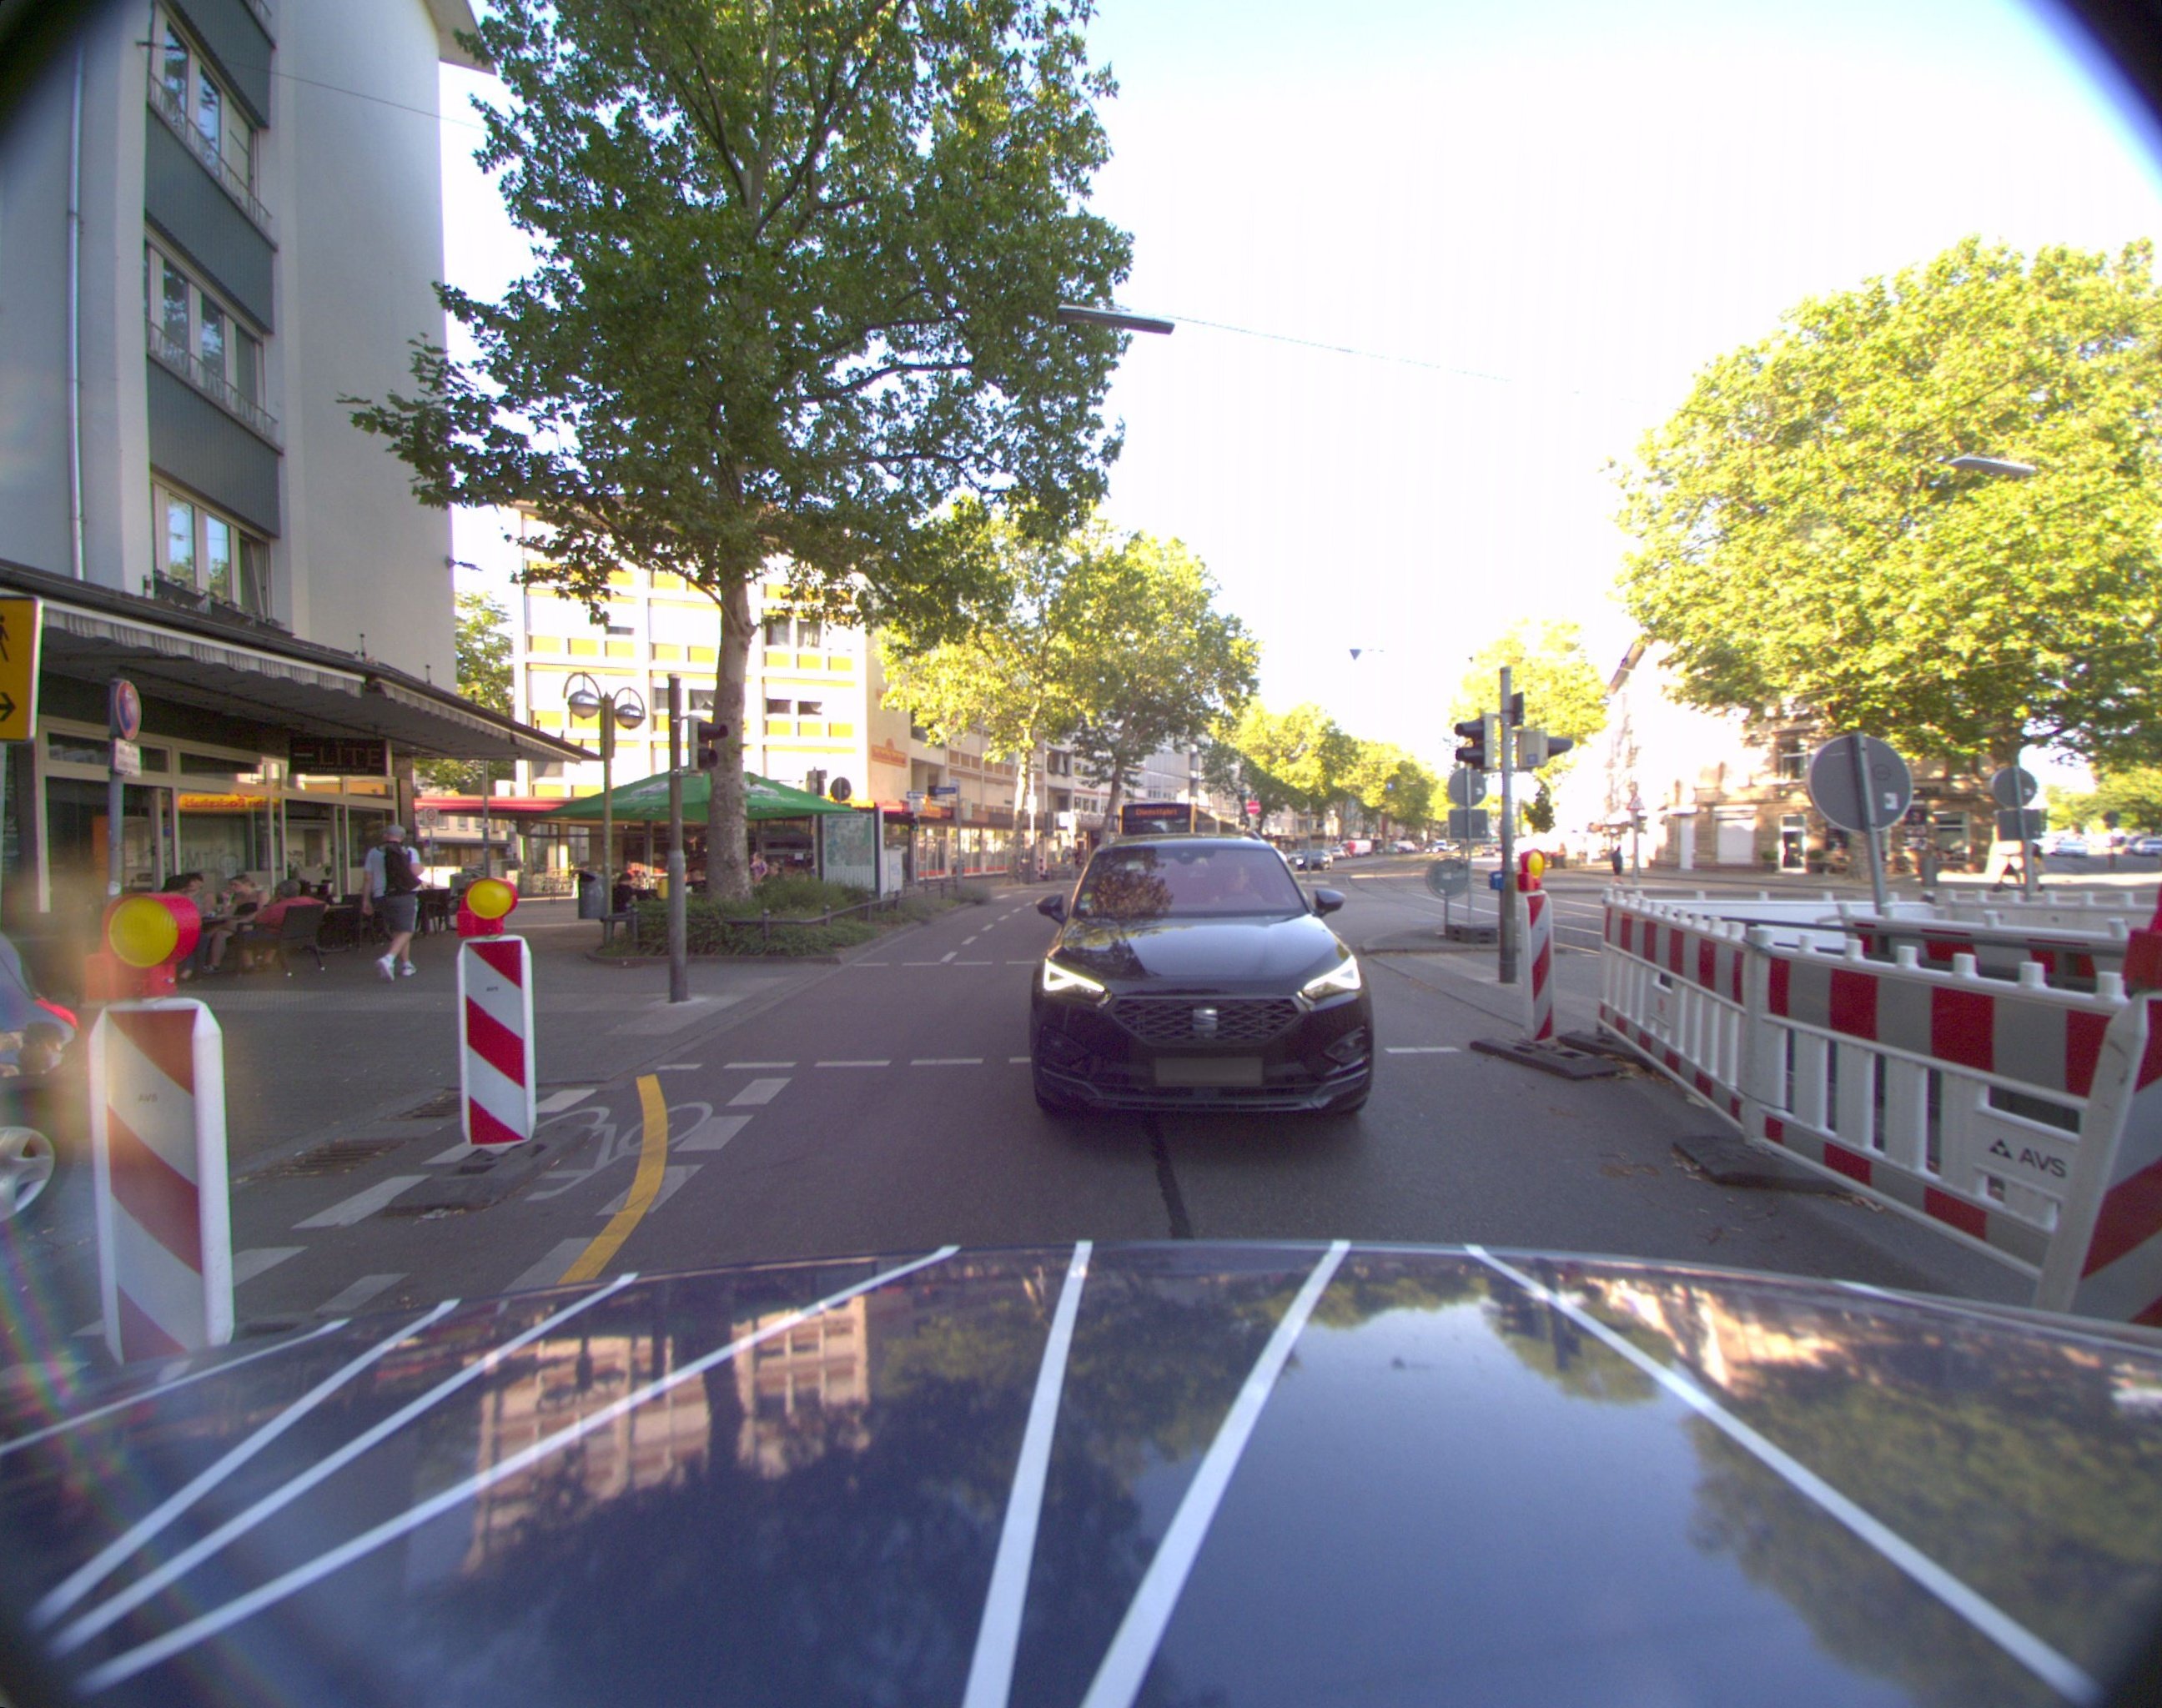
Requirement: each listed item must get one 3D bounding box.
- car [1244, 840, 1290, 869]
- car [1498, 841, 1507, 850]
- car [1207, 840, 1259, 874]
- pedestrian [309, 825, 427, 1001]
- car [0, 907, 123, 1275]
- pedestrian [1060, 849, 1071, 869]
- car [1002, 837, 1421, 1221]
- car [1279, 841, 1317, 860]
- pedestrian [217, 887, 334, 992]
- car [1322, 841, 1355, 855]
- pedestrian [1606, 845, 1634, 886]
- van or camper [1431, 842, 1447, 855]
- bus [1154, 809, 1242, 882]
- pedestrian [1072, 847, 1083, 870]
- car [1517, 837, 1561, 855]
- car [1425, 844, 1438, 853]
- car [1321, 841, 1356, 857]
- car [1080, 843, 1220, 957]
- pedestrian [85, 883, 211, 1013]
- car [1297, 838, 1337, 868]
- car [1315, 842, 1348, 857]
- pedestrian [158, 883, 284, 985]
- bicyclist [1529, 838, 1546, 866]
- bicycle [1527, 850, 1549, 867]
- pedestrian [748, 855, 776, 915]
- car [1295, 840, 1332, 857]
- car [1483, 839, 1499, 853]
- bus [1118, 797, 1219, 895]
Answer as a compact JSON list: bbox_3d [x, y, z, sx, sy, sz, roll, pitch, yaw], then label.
[{"bbox_3d":[13.497,0.026,54.883,1.994,2.002,4.008,0,1,33],"label":"car"},{"bbox_3d":[87.111,-1.673,156.929,1.686,1.841,4.007,0,1,29],"label":"car"},{"bbox_3d":[9.257,0.152,46.020,1.995,2.002,4.105,0,1,29],"label":"car"},{"bbox_3d":[-8.316,0.648,8.907,0.649,1.948,0.888,-1,1,-18],"label":"pedestrian"},{"bbox_3d":[-5.230,0.972,1.645,1.771,1.459,3.610,2,0,-2],"label":"car"},{"bbox_3d":[-1.103,0.340,53.920,0.627,1.429,0.532,0,1,20],"label":"pedestrian"},{"bbox_3d":[0.608,0.761,5.365,1.841,1.696,4.000,-1,1,1],"label":"car"},{"bbox_3d":[24.343,-0.402,85.072,3.991,2.002,2.003,0,1,18],"label":"car"},{"bbox_3d":[-9.871,1.016,9.322,0.877,1.186,0.701,0,1,24],"label":"pedestrian"},{"bbox_3d":[36.440,-0.840,107.593,3.994,2.002,2.001,-1,1,8],"label":"car"},{"bbox_3d":[20.304,0.436,28.643,0.603,1.524,0.745,0,1,12],"label":"pedestrian"},{"bbox_3d":[76.076,-1.142,161.375,2.420,2.702,6.144,0,1,32],"label":"van or camper"},{"bbox_3d":[5.884,-0.395,36.701,2.717,3.088,8.608,0,1,19],"label":"bus"},{"bbox_3d":[-0.269,0.319,53.752,0.627,1.577,0.532,0,1,20],"label":"pedestrian"},{"bbox_3d":[52.336,-0.948,86.859,4.001,2.002,1.997,-1,1,-13],"label":"car"},{"bbox_3d":[65.568,-1.083,142.104,1.836,1.692,4.138,0,1,31],"label":"car"},{"bbox_3d":[33.333,-0.698,98.475,3.994,2.002,2.001,-1,1,8],"label":"car"},{"bbox_3d":[1.014,0.643,12.946,1.998,1.634,4.075,-1,1,1],"label":"car"},{"bbox_3d":[-10.178,0.983,8.297,0.789,1.299,0.701,0,1,28],"label":"pedestrian"},{"bbox_3d":[16.556,-0.069,53.214,1.995,2.002,4.007,0,1,27],"label":"car"},{"bbox_3d":[34.168,-0.578,103.729,3.994,2.002,2.001,-1,1,8],"label":"car"},{"bbox_3d":[-10.742,0.980,9.519,0.647,1.186,0.792,0,1,7],"label":"pedestrian"},{"bbox_3d":[32.742,-0.143,54.500,0.854,2.002,0.985,0,1,19],"label":"bicyclist"},{"bbox_3d":[32.742,0.315,54.482,0.850,1.186,2.469,0,1,18],"label":"bicycle"},{"bbox_3d":[-8.826,0.834,21.055,0.629,1.628,0.531,-1,1,-15],"label":"pedestrian"},{"bbox_3d":[28.268,-0.683,92.553,3.994,2.002,2.001,-1,1,8],"label":"car"},{"bbox_3d":[58.407,-1.137,108.240,1.994,2.002,4.007,0,1,29],"label":"car"},{"bbox_3d":[3.506,-0.288,28.236,2.718,3.088,8.629,0,1,13],"label":"bus"}]
